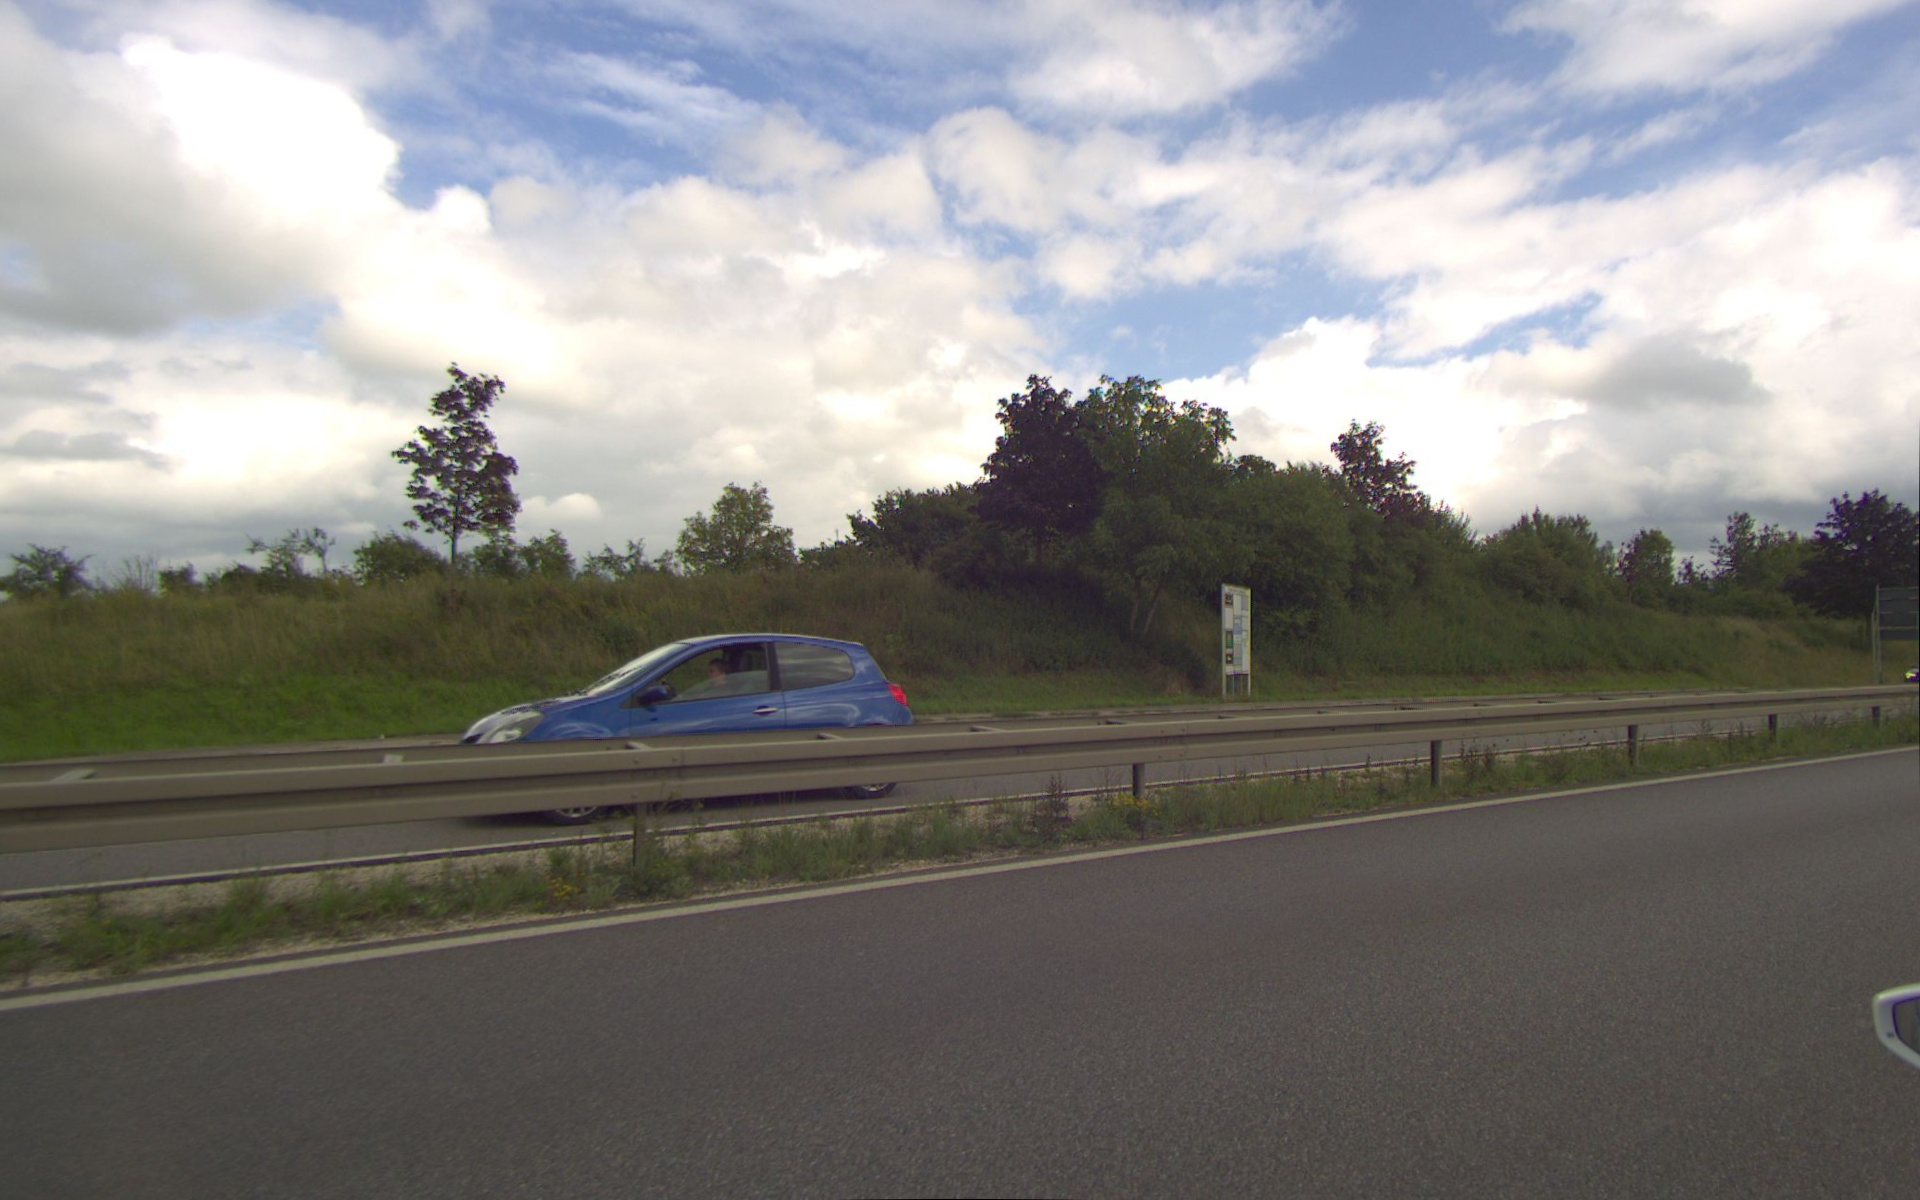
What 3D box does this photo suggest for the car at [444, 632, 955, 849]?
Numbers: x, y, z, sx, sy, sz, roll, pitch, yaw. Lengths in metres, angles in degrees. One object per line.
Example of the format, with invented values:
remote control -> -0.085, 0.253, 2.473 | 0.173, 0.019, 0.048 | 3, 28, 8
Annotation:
car -> -2.347, 1.075, 9.189 | 4.143, 1.539, 2.076 | 1, -2, -30

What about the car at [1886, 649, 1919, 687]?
car -> 36.891, 2.556, 37.928 | 4.366, 1.341, 1.683 | 1, -2, -31
